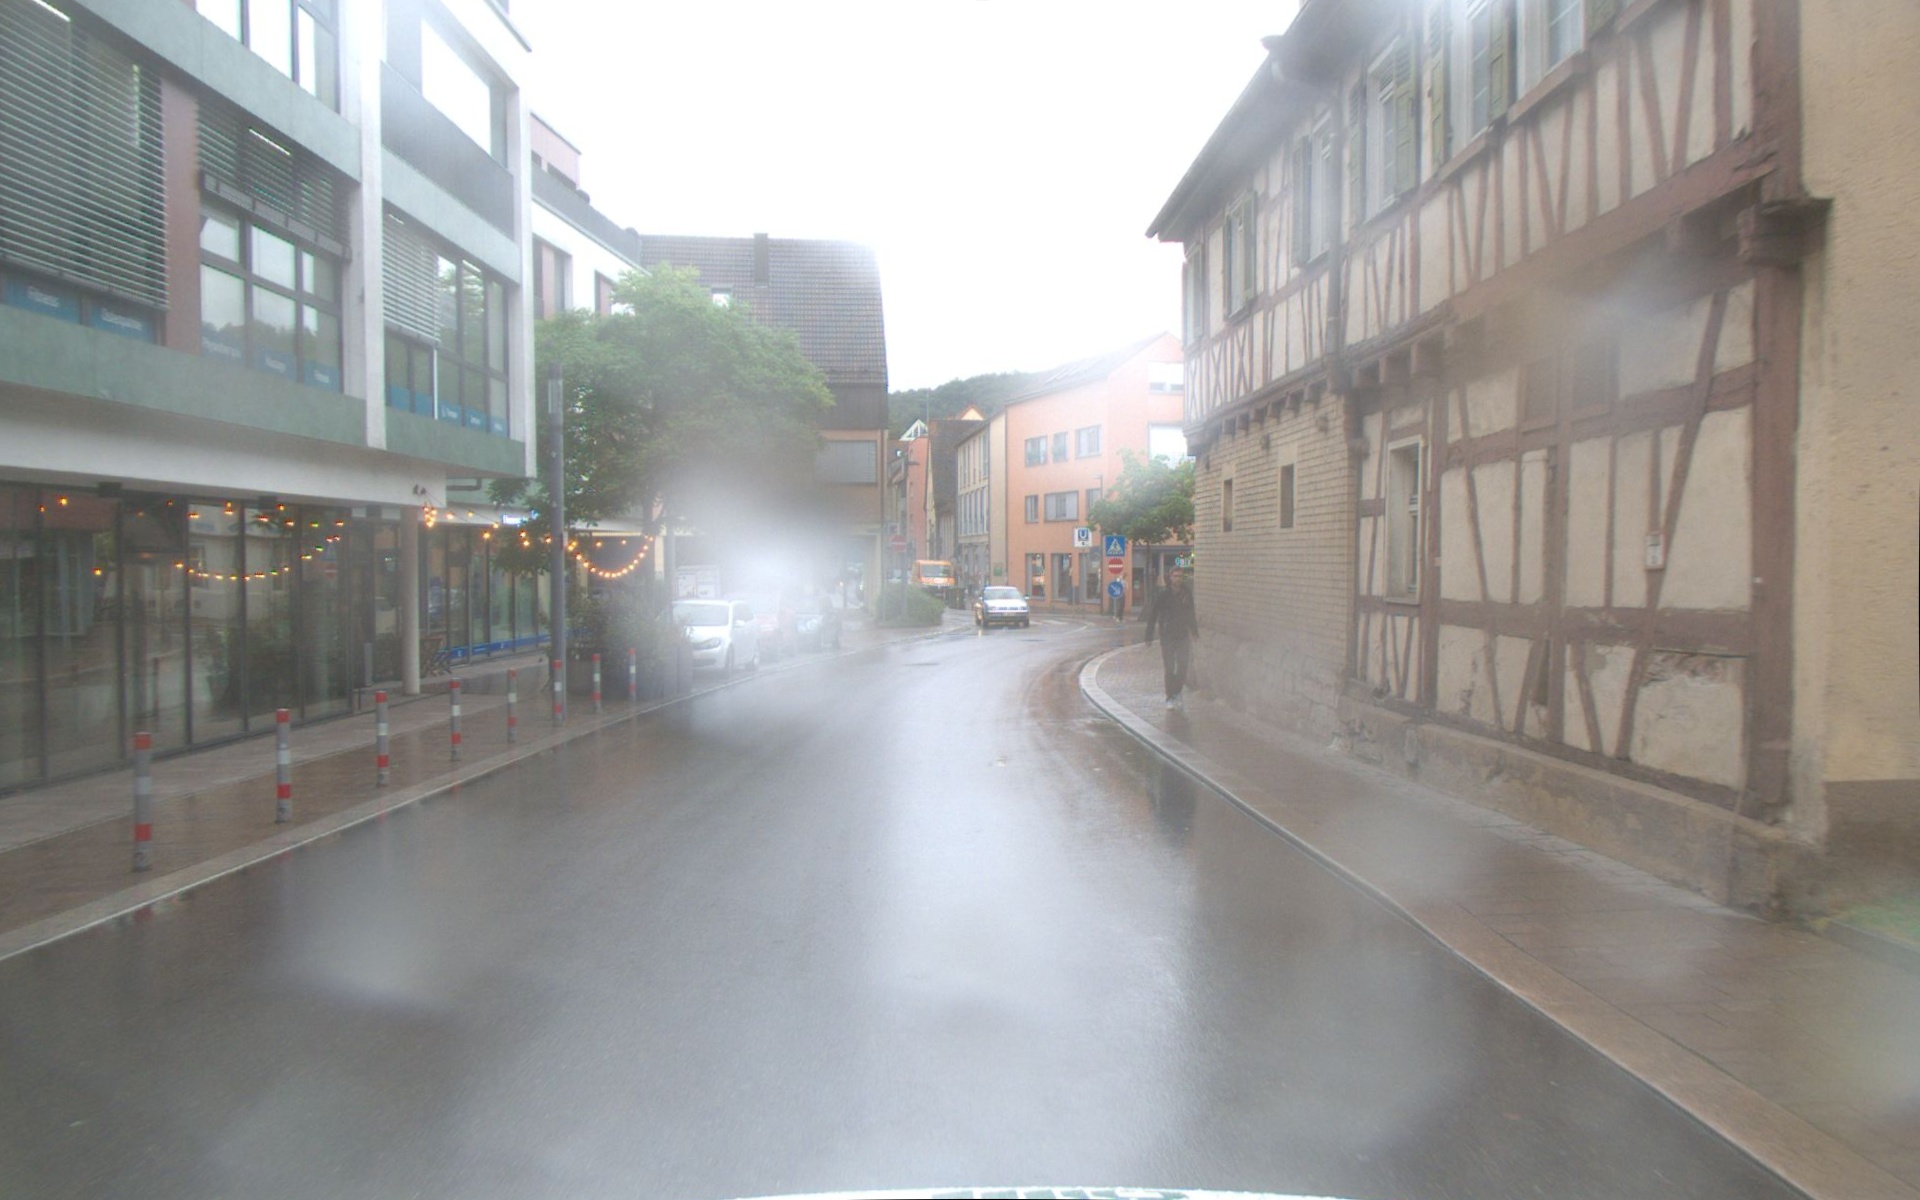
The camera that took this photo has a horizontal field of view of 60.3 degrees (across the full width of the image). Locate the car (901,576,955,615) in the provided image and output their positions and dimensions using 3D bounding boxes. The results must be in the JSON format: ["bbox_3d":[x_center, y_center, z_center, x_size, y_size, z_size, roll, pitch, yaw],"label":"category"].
[{"bbox_3d":[-1.305,-0.190,66.532,1.683,1.483,3.903,0,1,-9],"label":"car"}]

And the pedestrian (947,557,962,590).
[{"bbox_3d":[-0.348,-1.680,104.288,0.850,2.049,0.706,-1,1,-10],"label":"pedestrian"}]

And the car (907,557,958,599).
[{"bbox_3d":[-1.564,-1.227,92.241,2.065,2.183,4.857,-3,1,-9],"label":"car"}]

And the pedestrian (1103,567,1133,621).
[{"bbox_3d":[5.807,-0.230,60.721,0.845,1.948,0.757,0,1,29],"label":"pedestrian"}]

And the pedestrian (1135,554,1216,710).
[{"bbox_3d":[2.740,0.394,21.108,0.794,1.918,0.907,-2,1,-3],"label":"pedestrian"}]

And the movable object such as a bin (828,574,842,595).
[{"bbox_3d":[-8.288,-1.028,109.845,0.819,1.406,0.852,-1,1,-11],"label":"movable object such as a bin"}]

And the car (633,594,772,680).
[{"bbox_3d":[-4.955,0.672,32.407,1.749,1.525,4.456,-1,0,3],"label":"car"}]

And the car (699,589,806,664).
[{"bbox_3d":[-4.780,0.576,38.620,1.749,1.604,4.109,-1,0,3],"label":"car"}]

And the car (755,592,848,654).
[{"bbox_3d":[-4.092,0.570,43.291,1.678,1.483,3.913,0,1,6],"label":"car"}]

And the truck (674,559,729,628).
[{"bbox_3d":[-9.124,-0.268,58.588,1.565,2.097,3.192,-2,5,-4],"label":"truck"}]

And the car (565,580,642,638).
[{"bbox_3d":[-12.371,0.274,57.589,1.775,1.645,4.003,-1,5,0],"label":"car"}]

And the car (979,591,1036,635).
[{"bbox_3d":[1.736,0.453,61.106,1.754,1.442,4.027,-3,1,-2],"label":"car"}]
